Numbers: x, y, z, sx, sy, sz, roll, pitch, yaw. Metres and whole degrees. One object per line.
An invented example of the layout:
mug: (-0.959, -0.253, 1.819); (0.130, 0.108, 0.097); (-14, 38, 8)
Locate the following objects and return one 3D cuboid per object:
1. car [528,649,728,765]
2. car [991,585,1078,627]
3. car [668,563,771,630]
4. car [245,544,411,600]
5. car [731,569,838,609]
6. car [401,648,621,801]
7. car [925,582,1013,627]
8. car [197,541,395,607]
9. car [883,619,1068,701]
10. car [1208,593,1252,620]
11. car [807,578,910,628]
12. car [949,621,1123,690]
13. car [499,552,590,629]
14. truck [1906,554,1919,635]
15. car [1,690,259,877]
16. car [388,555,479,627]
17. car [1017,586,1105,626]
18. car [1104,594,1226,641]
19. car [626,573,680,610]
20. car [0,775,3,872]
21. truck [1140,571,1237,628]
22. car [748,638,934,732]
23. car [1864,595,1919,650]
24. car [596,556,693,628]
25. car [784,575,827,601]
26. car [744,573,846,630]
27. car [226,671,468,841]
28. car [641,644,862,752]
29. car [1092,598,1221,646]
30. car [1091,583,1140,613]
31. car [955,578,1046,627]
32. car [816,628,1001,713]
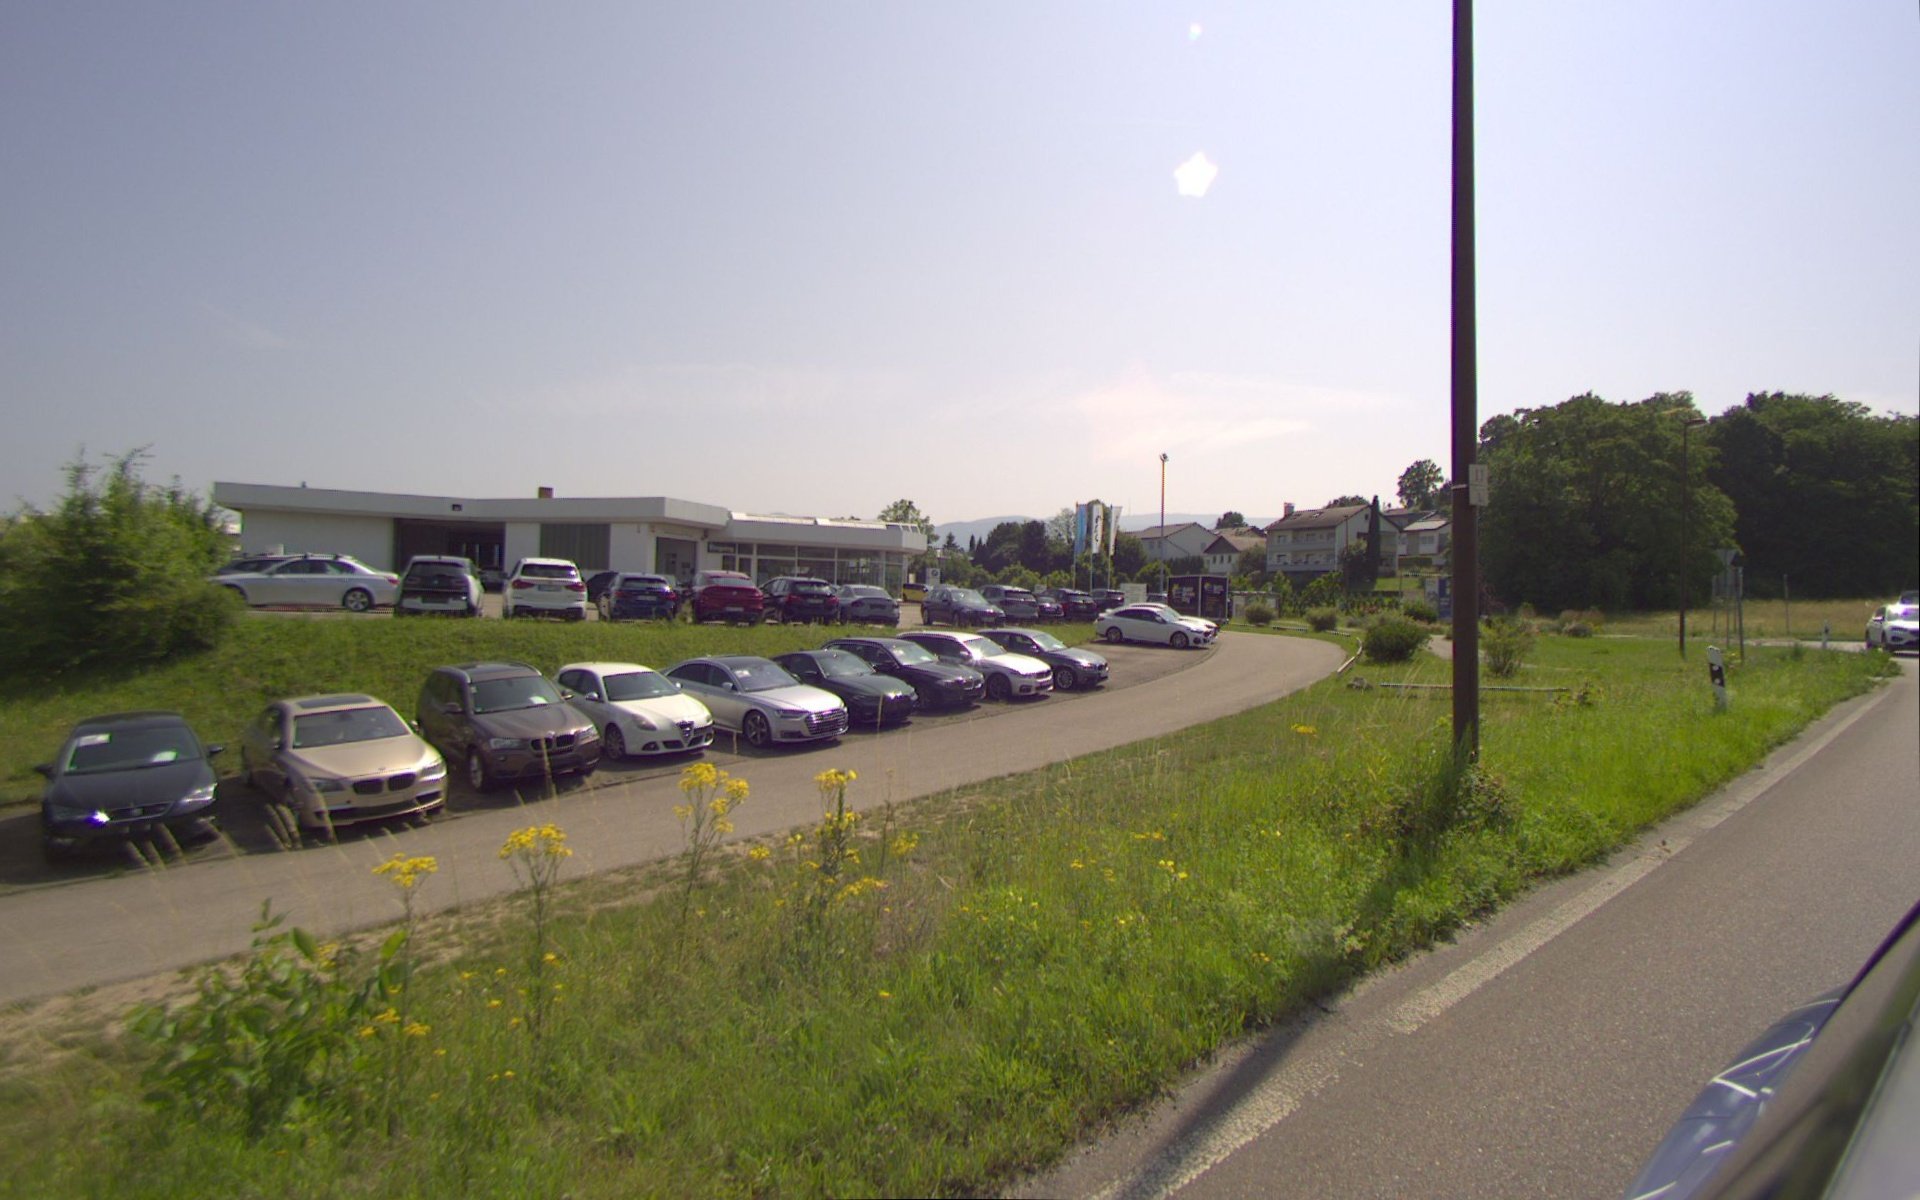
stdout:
car: (-6.304, 1.883, 18.955); (4.250, 1.483, 1.844); (3, 4, 45)
car: (3.145, 0.229, 43.661); (1.909, 1.518, 4.016); (2, 1, -26)
car: (-7.030, -0.125, 29.288); (1.909, 1.769, 4.475); (1, 1, -26)
car: (-19.918, -0.862, 32.126); (4.214, 1.616, 1.926); (1, 1, -25)
car: (-7.535, -0.473, 43.517); (4.203, 1.606, 1.652); (2, 0, 12)
car: (-7.619, 1.932, 16.985); (4.251, 1.769, 1.968); (3, 5, 45)
car: (0.263, 0.142, 37.507); (1.908, 1.545, 4.017); (1, 1, -21)
car: (-17.788, -0.678, 27.377); (4.214, 1.616, 1.926); (1, 1, -25)
car: (0.341, 1.458, 26.120); (4.546, 1.584, 1.899); (3, 4, 36)
car: (16.625, 0.360, 62.439); (1.876, 1.531, 4.369); (2, 1, 5)
car: (-3.429, 0.068, 33.467); (1.909, 1.519, 4.475); (1, 1, -26)
car: (2.066, 1.463, 28.020); (4.536, 1.438, 1.765); (3, 4, 31)
car: (-10.601, -0.251, 25.664); (1.801, 1.769, 4.475); (1, 1, -26)
truck: (50.644, -0.307, 47.492); (8.875, 3.878, 2.892); (-1, -1, 10)
car: (-11.067, 2.242, 13.419); (3.983, 1.571, 1.971); (2, 3, 41)
car: (-12.384, -0.225, 23.918); (1.732, 1.552, 3.894); (1, 1, -26)
car: (4.515, 0.210, 45.973); (1.909, 1.518, 4.436); (0, 3, -26)
car: (8.431, 0.691, 41.727); (4.617, 1.590, 1.754); (4, 2, 24)
car: (-13.834, -0.409, 45.410); (1.909, 1.541, 4.477); (1, 1, -22)
car: (-12.970, 2.208, 11.844); (4.475, 1.660, 2.117); (0, 1, 41)
truck: (11.471, -0.053, 51.306); (1.908, 2.698, 5.639); (1, 0, -21)
car: (-2.711, 1.782, 22.418); (4.251, 1.429, 1.893); (4, 5, 45)
car: (31.158, 0.712, 32.562); (2.180, 1.673, 5.063); (-1, -1, 32)
car: (-8.651, -0.230, 27.479); (1.801, 1.769, 4.475); (1, 1, -26)
car: (-10.017, -0.771, 65.246); (1.869, 1.606, 4.050); (1, 1, -21)
car: (-5.287, 0.008, 31.964); (1.909, 1.655, 4.475); (1, 1, -26)
car: (-9.234, 2.120, 15.058); (4.769, 1.526, 1.968); (3, 4, 45)
car: (-4.203, 1.841, 20.155); (4.411, 1.483, 1.898); (3, 4, 37)
car: (7.539, 0.815, 38.988); (4.539, 1.590, 1.750); (2, 2, 30)
car: (9.068, -0.142, 59.457); (1.871, 1.701, 3.824); (1, 0, -6)
car: (1.557, 0.074, 40.590); (1.909, 1.772, 4.016); (1, 2, -26)
car: (-1.282, 1.612, 24.402); (4.237, 1.500, 1.899); (3, 4, 36)
